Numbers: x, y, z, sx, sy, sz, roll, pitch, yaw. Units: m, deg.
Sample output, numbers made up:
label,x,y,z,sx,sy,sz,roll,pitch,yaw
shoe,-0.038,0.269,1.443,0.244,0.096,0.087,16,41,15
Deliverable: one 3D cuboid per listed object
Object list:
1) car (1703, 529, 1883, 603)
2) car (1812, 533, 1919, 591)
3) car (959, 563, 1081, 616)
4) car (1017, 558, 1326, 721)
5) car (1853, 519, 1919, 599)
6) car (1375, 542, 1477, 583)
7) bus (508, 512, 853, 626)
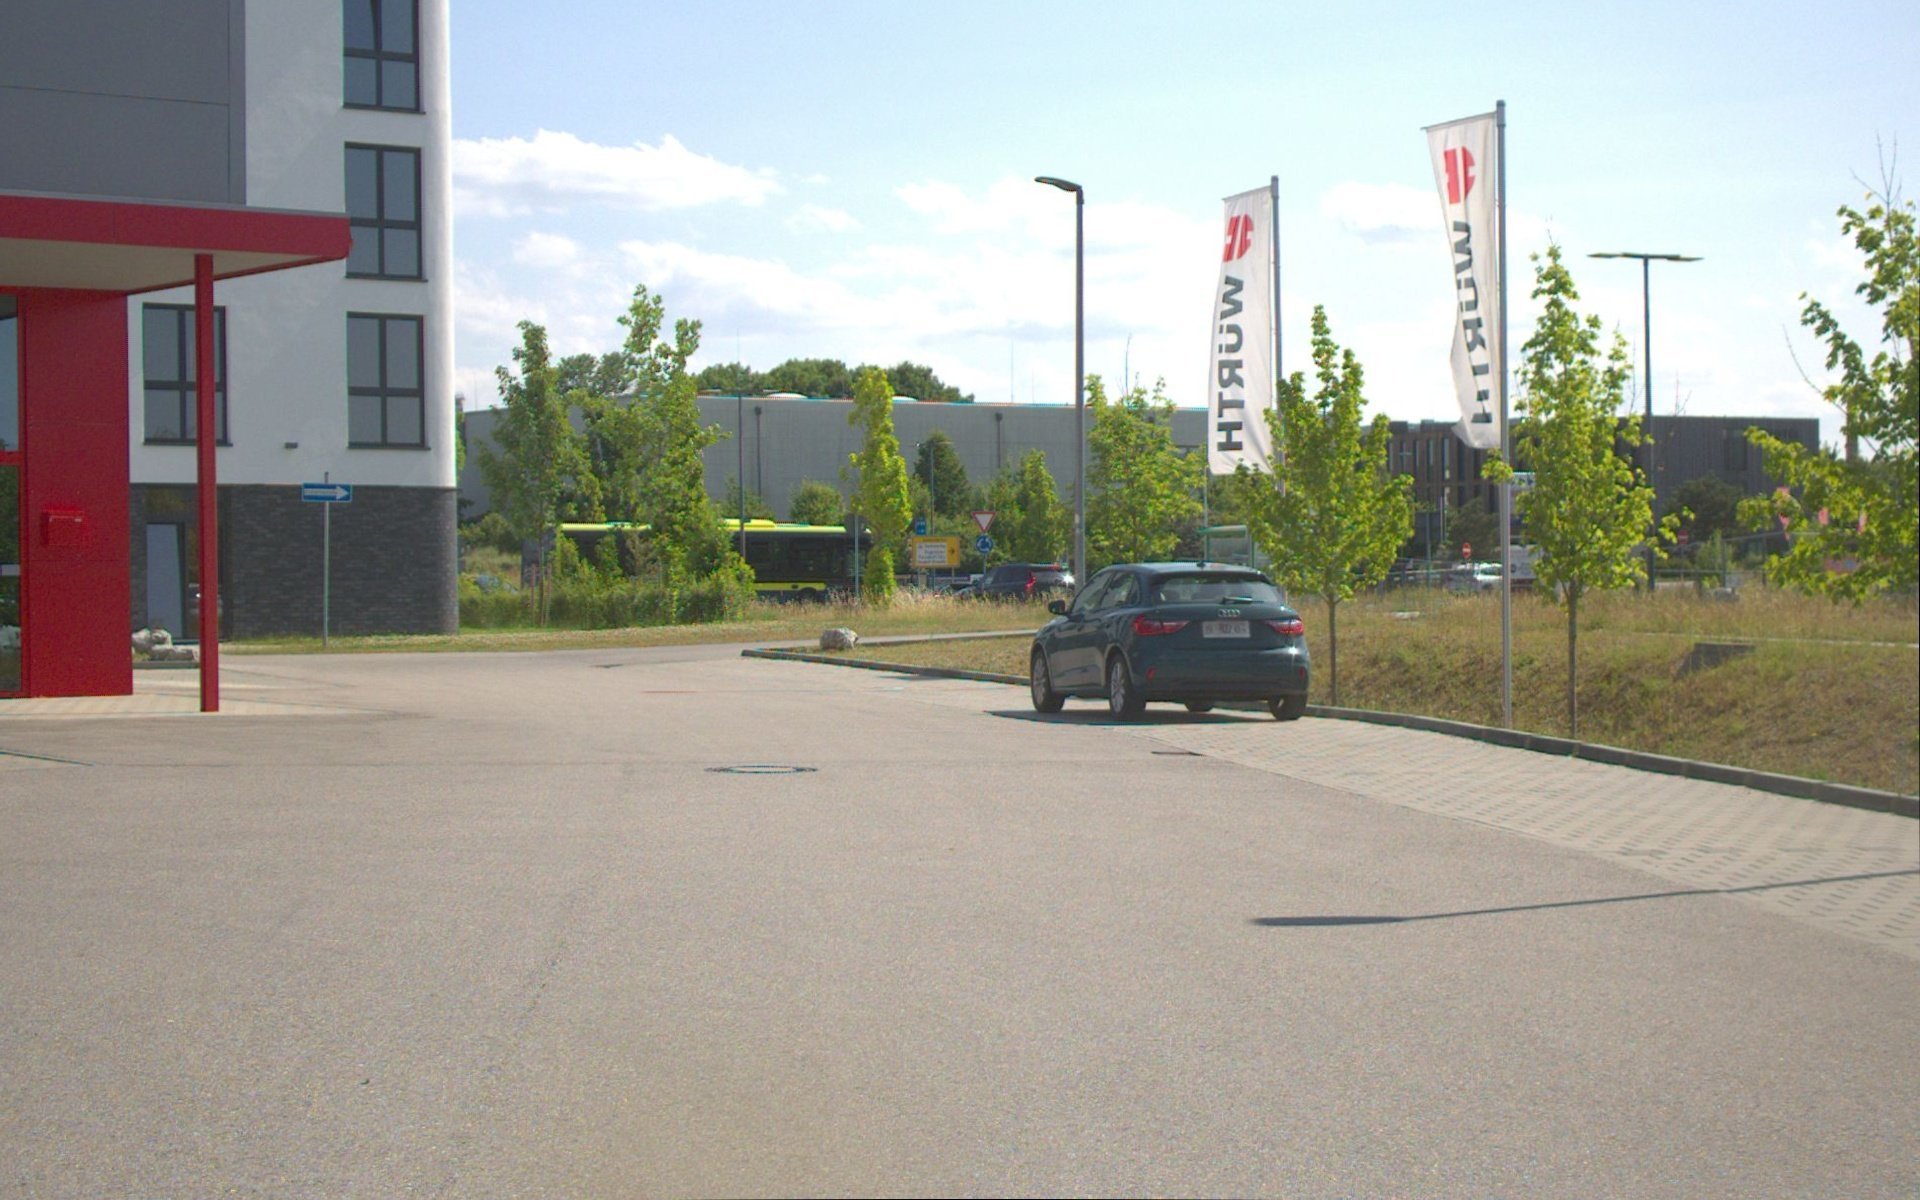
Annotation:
label,x,y,z,sx,sy,sz,roll,pitch,yaw
car,18.393,-0.763,75.905,3.654,1.592,1.715,-1,1,-28
car,22.724,-0.941,83.964,3.704,1.390,1.590,-1,1,-32
car,1.649,-0.302,95.471,1.647,1.381,3.512,-1,2,-34
car,1.876,0.315,31.686,1.698,1.401,3.898,0,1,-15
car,20.194,-0.851,70.095,3.654,1.592,1.715,-1,1,-28
car,19.226,-1.563,141.854,3.946,1.652,1.906,-1,2,-36
bus,-9.009,-1.076,111.885,11.214,3.545,2.575,-1,1,-32
